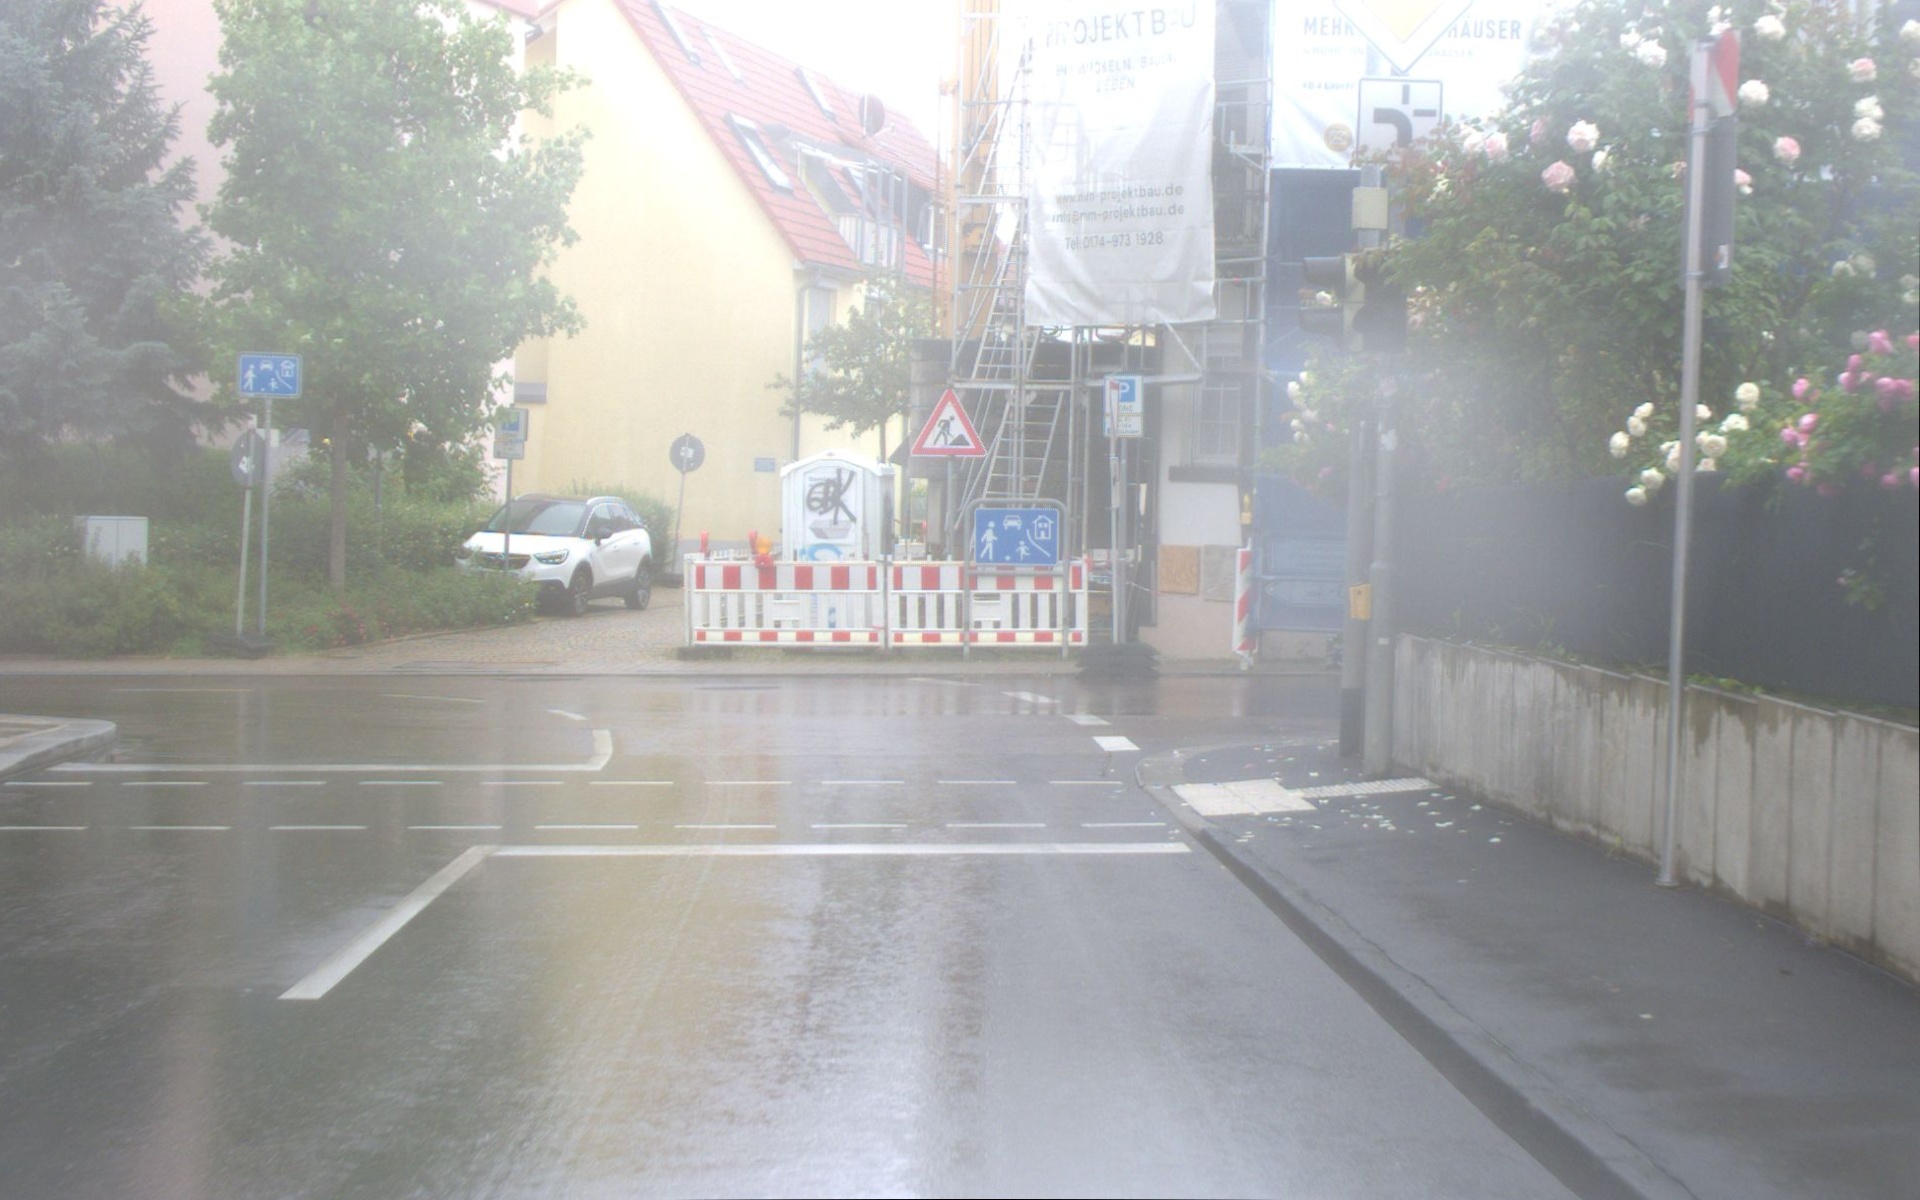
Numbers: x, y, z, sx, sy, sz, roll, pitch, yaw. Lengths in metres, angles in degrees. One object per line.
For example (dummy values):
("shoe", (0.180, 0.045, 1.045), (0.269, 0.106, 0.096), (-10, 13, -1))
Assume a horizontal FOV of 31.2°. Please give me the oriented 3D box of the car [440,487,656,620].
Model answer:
("car", (-5.623, -0.676, 47.351), (1.601, 1.672, 3.936), (3, 3, 14))
